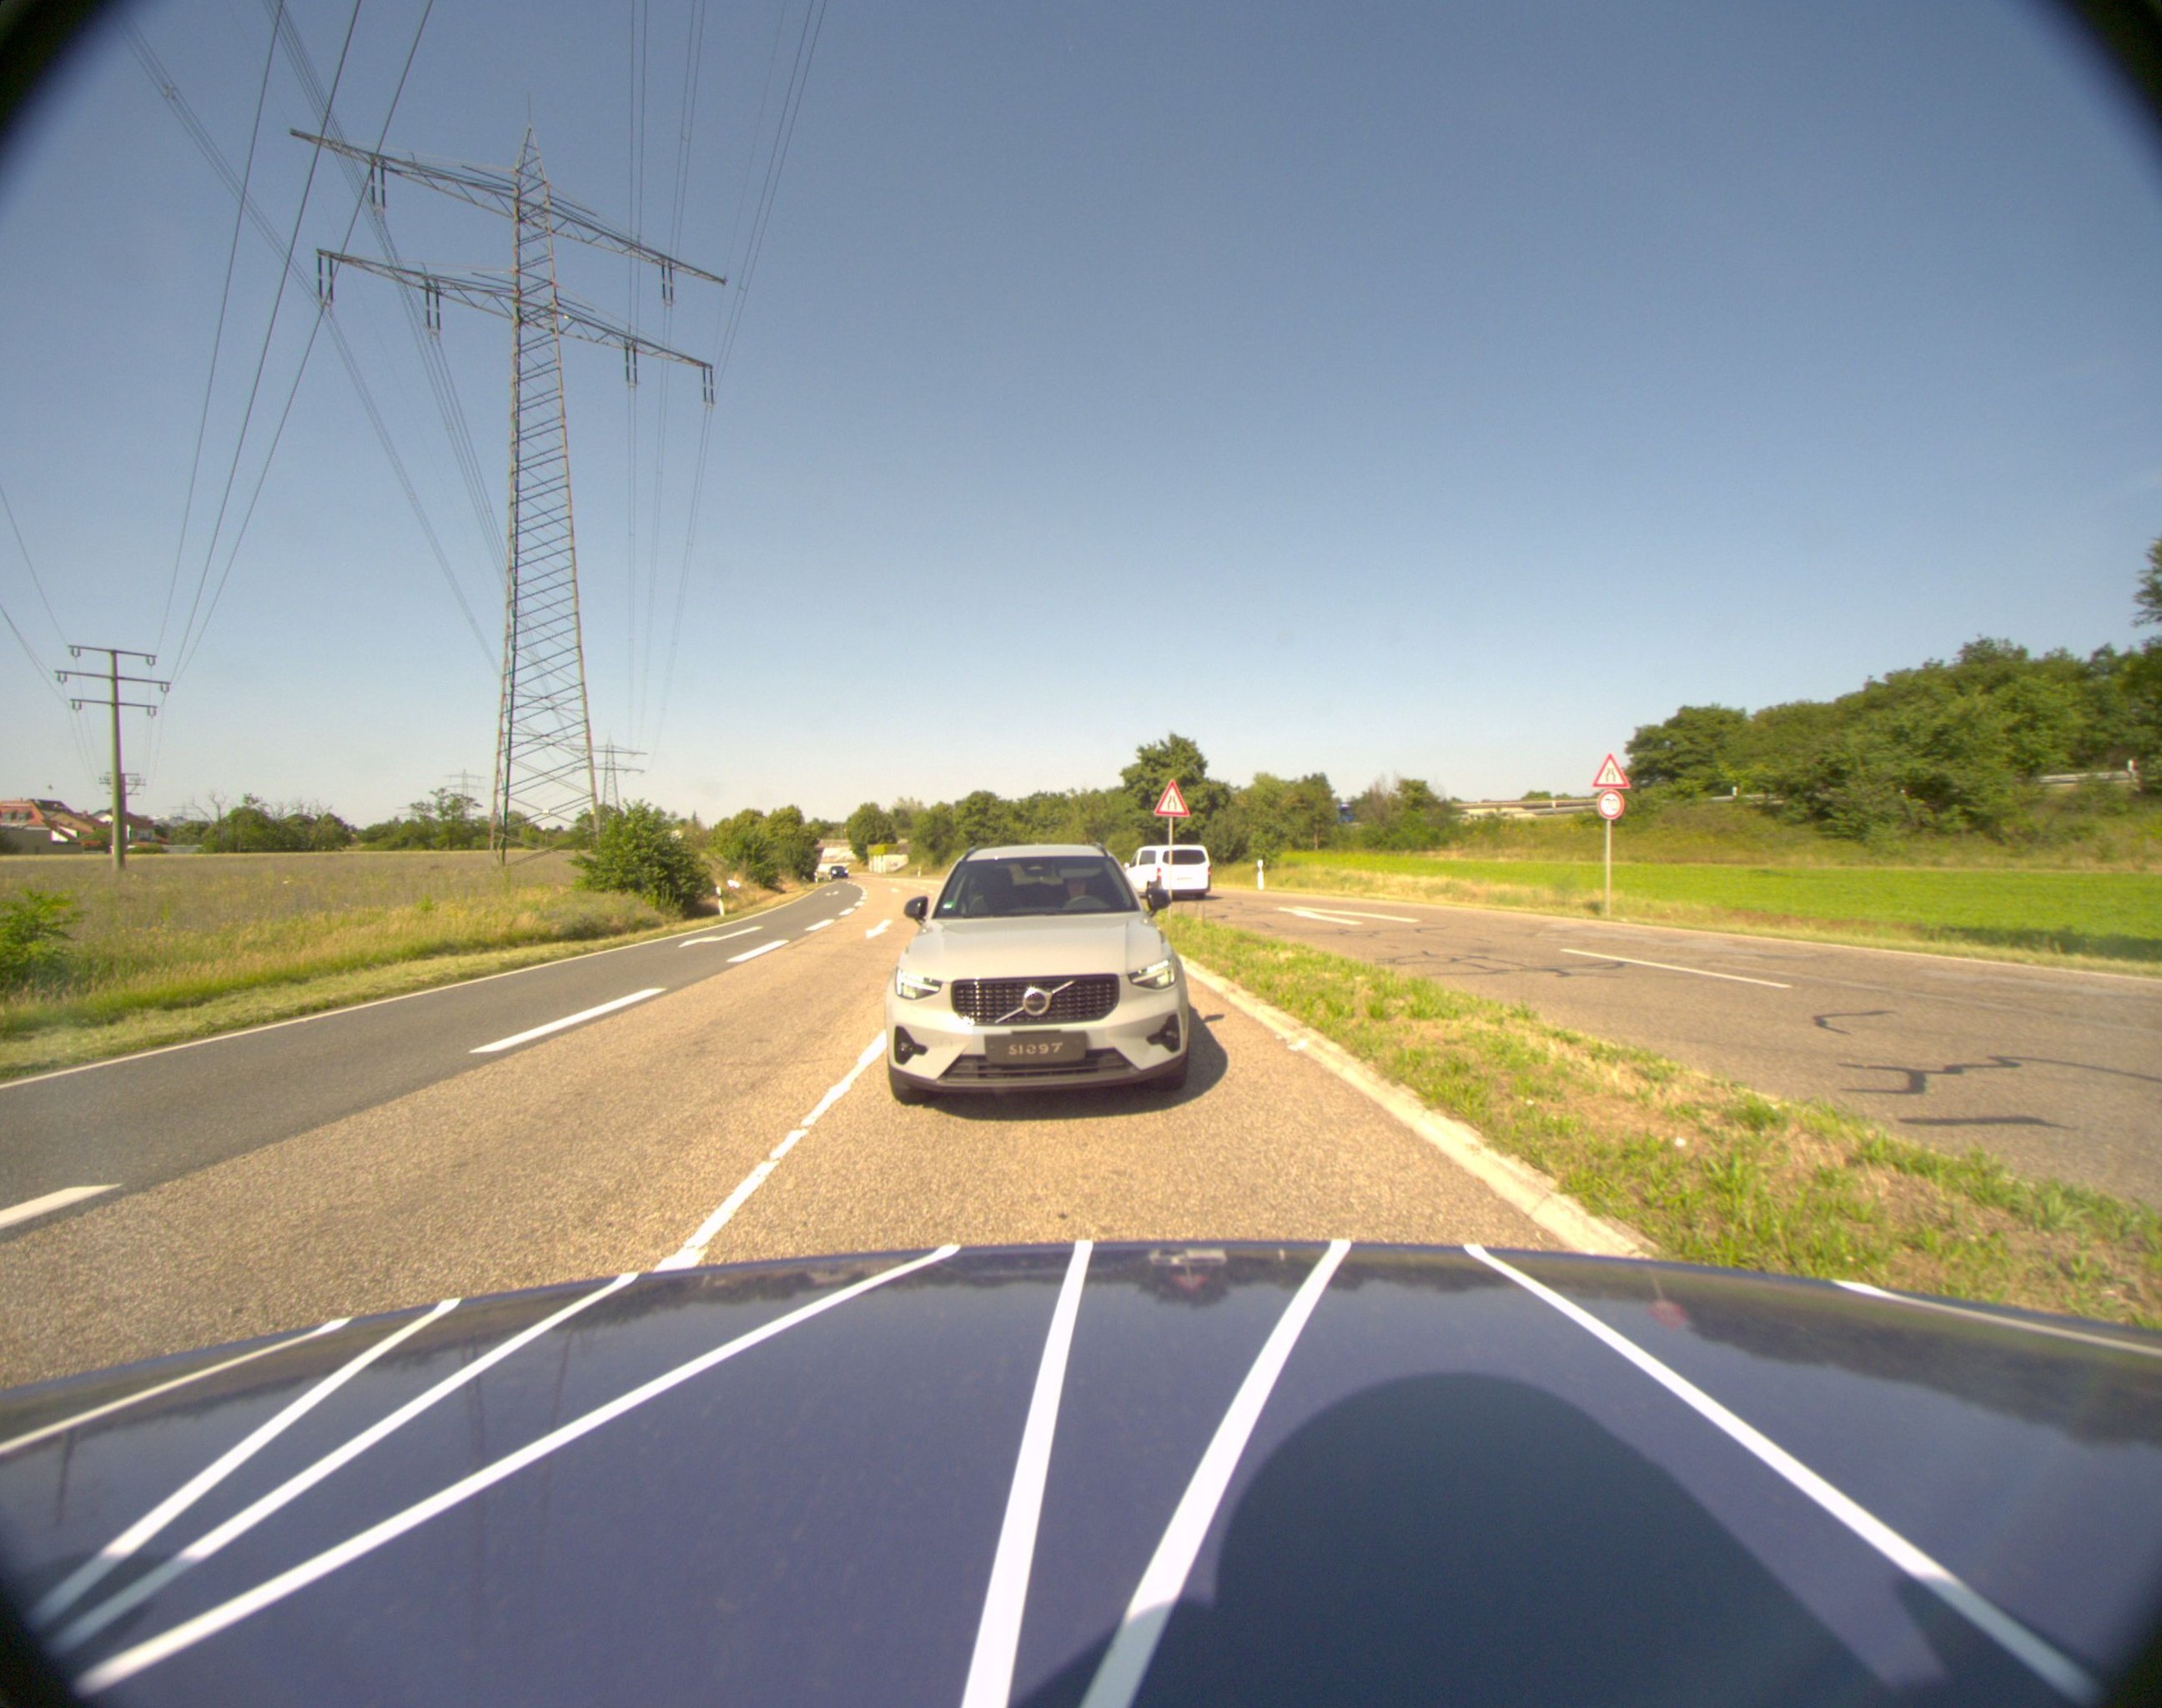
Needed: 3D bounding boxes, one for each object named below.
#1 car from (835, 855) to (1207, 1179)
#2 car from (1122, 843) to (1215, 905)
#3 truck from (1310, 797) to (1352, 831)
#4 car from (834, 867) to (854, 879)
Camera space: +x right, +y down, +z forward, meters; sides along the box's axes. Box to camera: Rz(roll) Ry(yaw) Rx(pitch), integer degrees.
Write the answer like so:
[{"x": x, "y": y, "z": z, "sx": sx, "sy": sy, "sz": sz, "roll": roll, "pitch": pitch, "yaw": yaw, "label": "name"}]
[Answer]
[{"x": -0.283, "y": 0.846, "z": 5.730, "sx": 1.859, "sy": 1.609, "sz": 3.647, "roll": -2, "pitch": 0, "yaw": 1, "label": "car"}, {"x": 2.942, "y": 0.640, "z": 26.727, "sx": 2.000, "sy": 1.907, "sz": 4.944, "roll": -2, "pitch": 0, "yaw": -8, "label": "car"}, {"x": 31.717, "y": -5.010, "z": 96.414, "sx": 2.565, "sy": 3.953, "sz": 4.657, "roll": -3, "pitch": 1, "yaw": -21, "label": "truck"}, {"x": -30.061, "y": 2.338, "z": 96.288, "sx": 1.901, "sy": 1.344, "sz": 3.527, "roll": -3, "pitch": 1, "yaw": -25, "label": "car"}]
